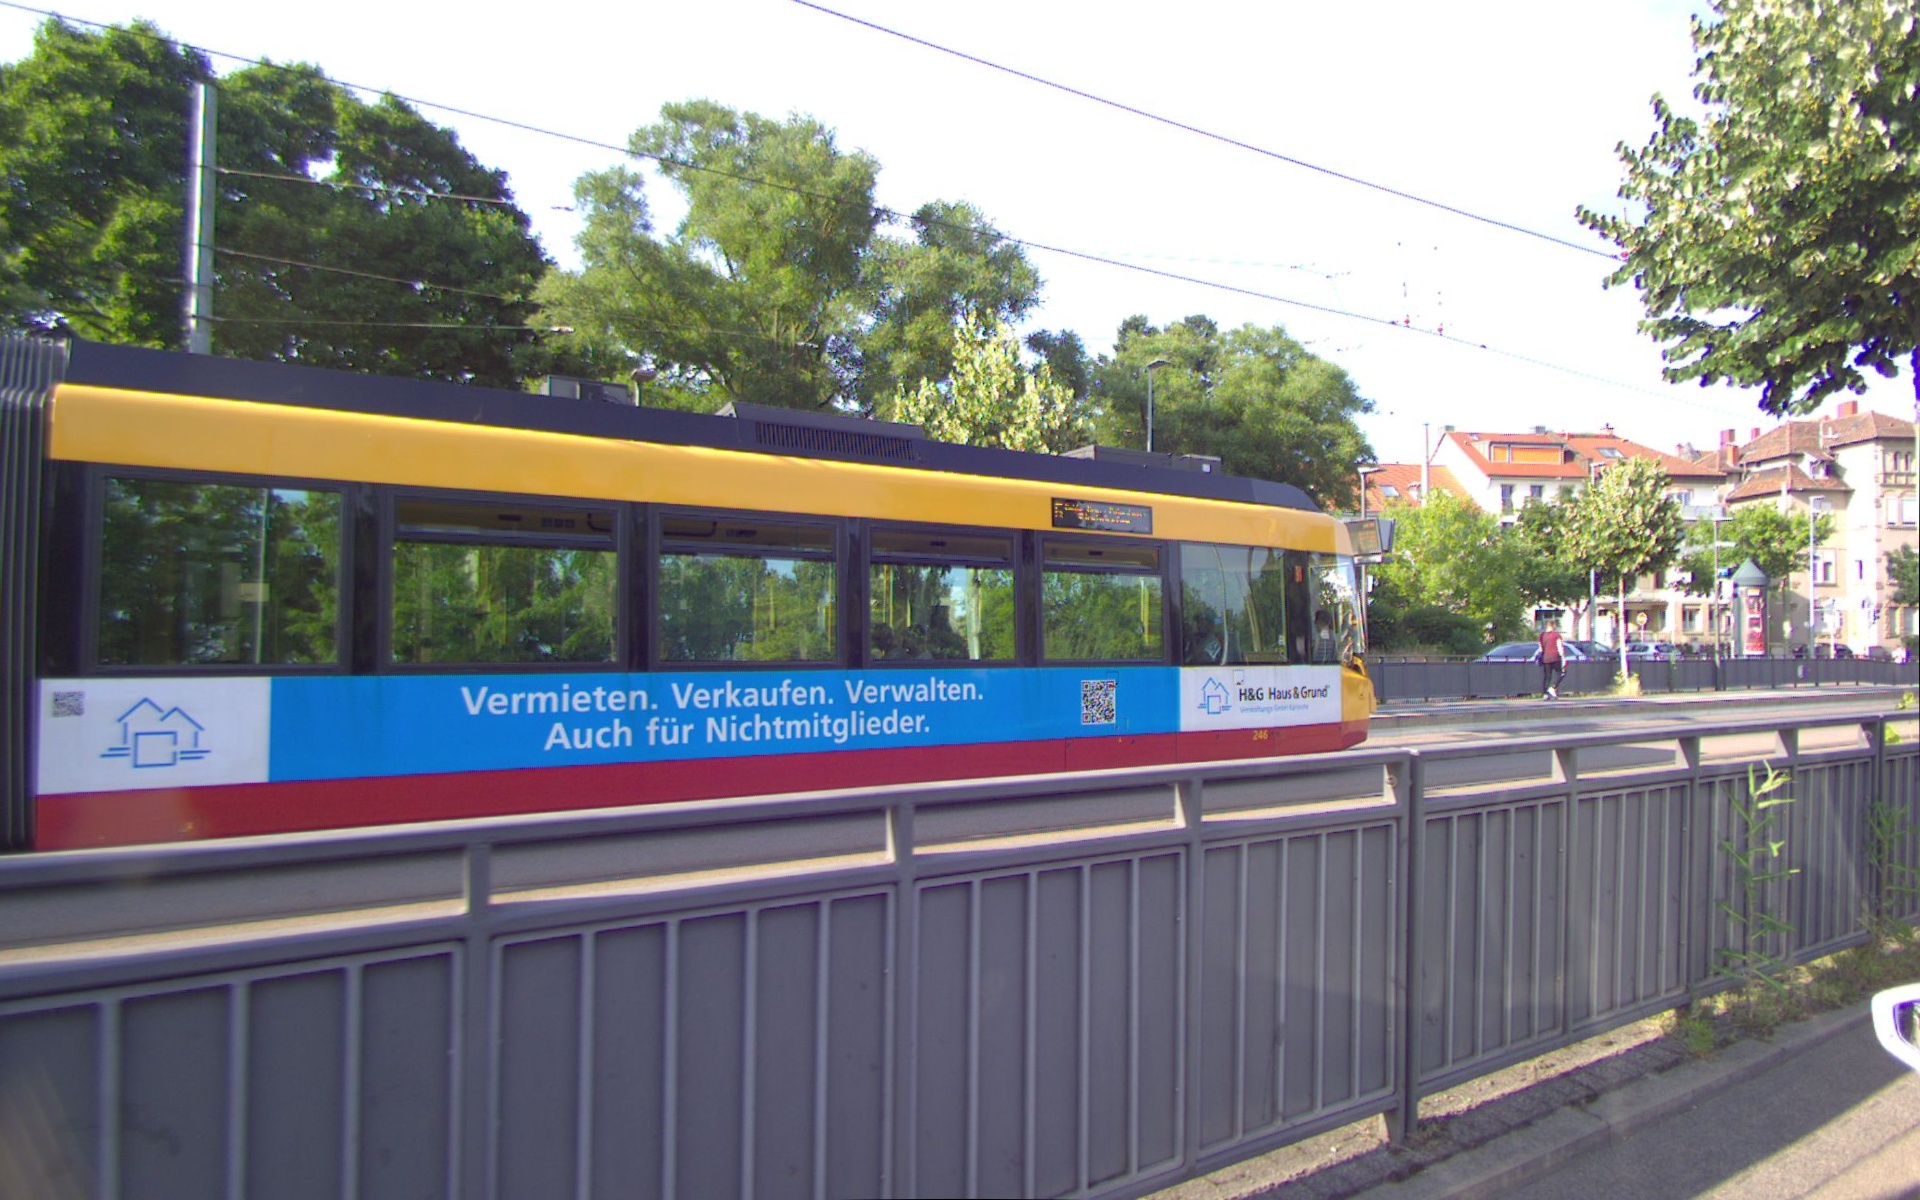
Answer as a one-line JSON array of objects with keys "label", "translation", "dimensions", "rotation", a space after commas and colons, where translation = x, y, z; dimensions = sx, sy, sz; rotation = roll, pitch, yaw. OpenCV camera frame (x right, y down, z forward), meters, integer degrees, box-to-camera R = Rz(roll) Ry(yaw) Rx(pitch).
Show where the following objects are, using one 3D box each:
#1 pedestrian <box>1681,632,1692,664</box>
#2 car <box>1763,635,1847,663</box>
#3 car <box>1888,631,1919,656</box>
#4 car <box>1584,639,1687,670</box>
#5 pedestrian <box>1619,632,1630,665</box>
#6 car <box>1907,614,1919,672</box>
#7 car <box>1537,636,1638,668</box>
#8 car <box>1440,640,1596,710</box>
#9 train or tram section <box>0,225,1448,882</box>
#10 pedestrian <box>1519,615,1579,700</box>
[{"label": "pedestrian", "translation": [47.610, 3.152, 65.818], "dimensions": [0.426, 2.040, 0.421], "rotation": [1, -1, -11]}, {"label": "car", "translation": [57.281, 3.309, 68.182], "dimensions": [1.965, 1.773, 3.992], "rotation": [1, -1, -11]}, {"label": "car", "translation": [66.583, 2.960, 68.643], "dimensions": [4.628, 1.649, 2.209], "rotation": [1, -1, -6]}, {"label": "car", "translation": [33.404, 2.666, 49.799], "dimensions": [1.966, 1.416, 3.989], "rotation": [1, -1, -14]}, {"label": "pedestrian", "translation": [42.008, 3.063, 63.475], "dimensions": [0.400, 2.040, 0.383], "rotation": [1, -1, -11]}, {"label": "car", "translation": [49.272, 2.111, 48.943], "dimensions": [7.380, 2.771, 2.584], "rotation": [1, -1, -30]}, {"label": "car", "translation": [30.706, 2.526, 49.292], "dimensions": [1.966, 1.416, 3.989], "rotation": [1, -1, -14]}, {"label": "car", "translation": [15.007, 1.960, 27.012], "dimensions": [3.954, 1.706, 1.984], "rotation": [1, -1, -31]}, {"label": "train or tram section", "translation": [-1.270, -0.136, 9.461], "dimensions": [14.300, 3.525, 3.147], "rotation": [1, -1, -30]}, {"label": "pedestrian", "translation": [12.582, 1.219, 21.468], "dimensions": [0.763, 1.756, 0.832], "rotation": [1, -2, -29]}]
